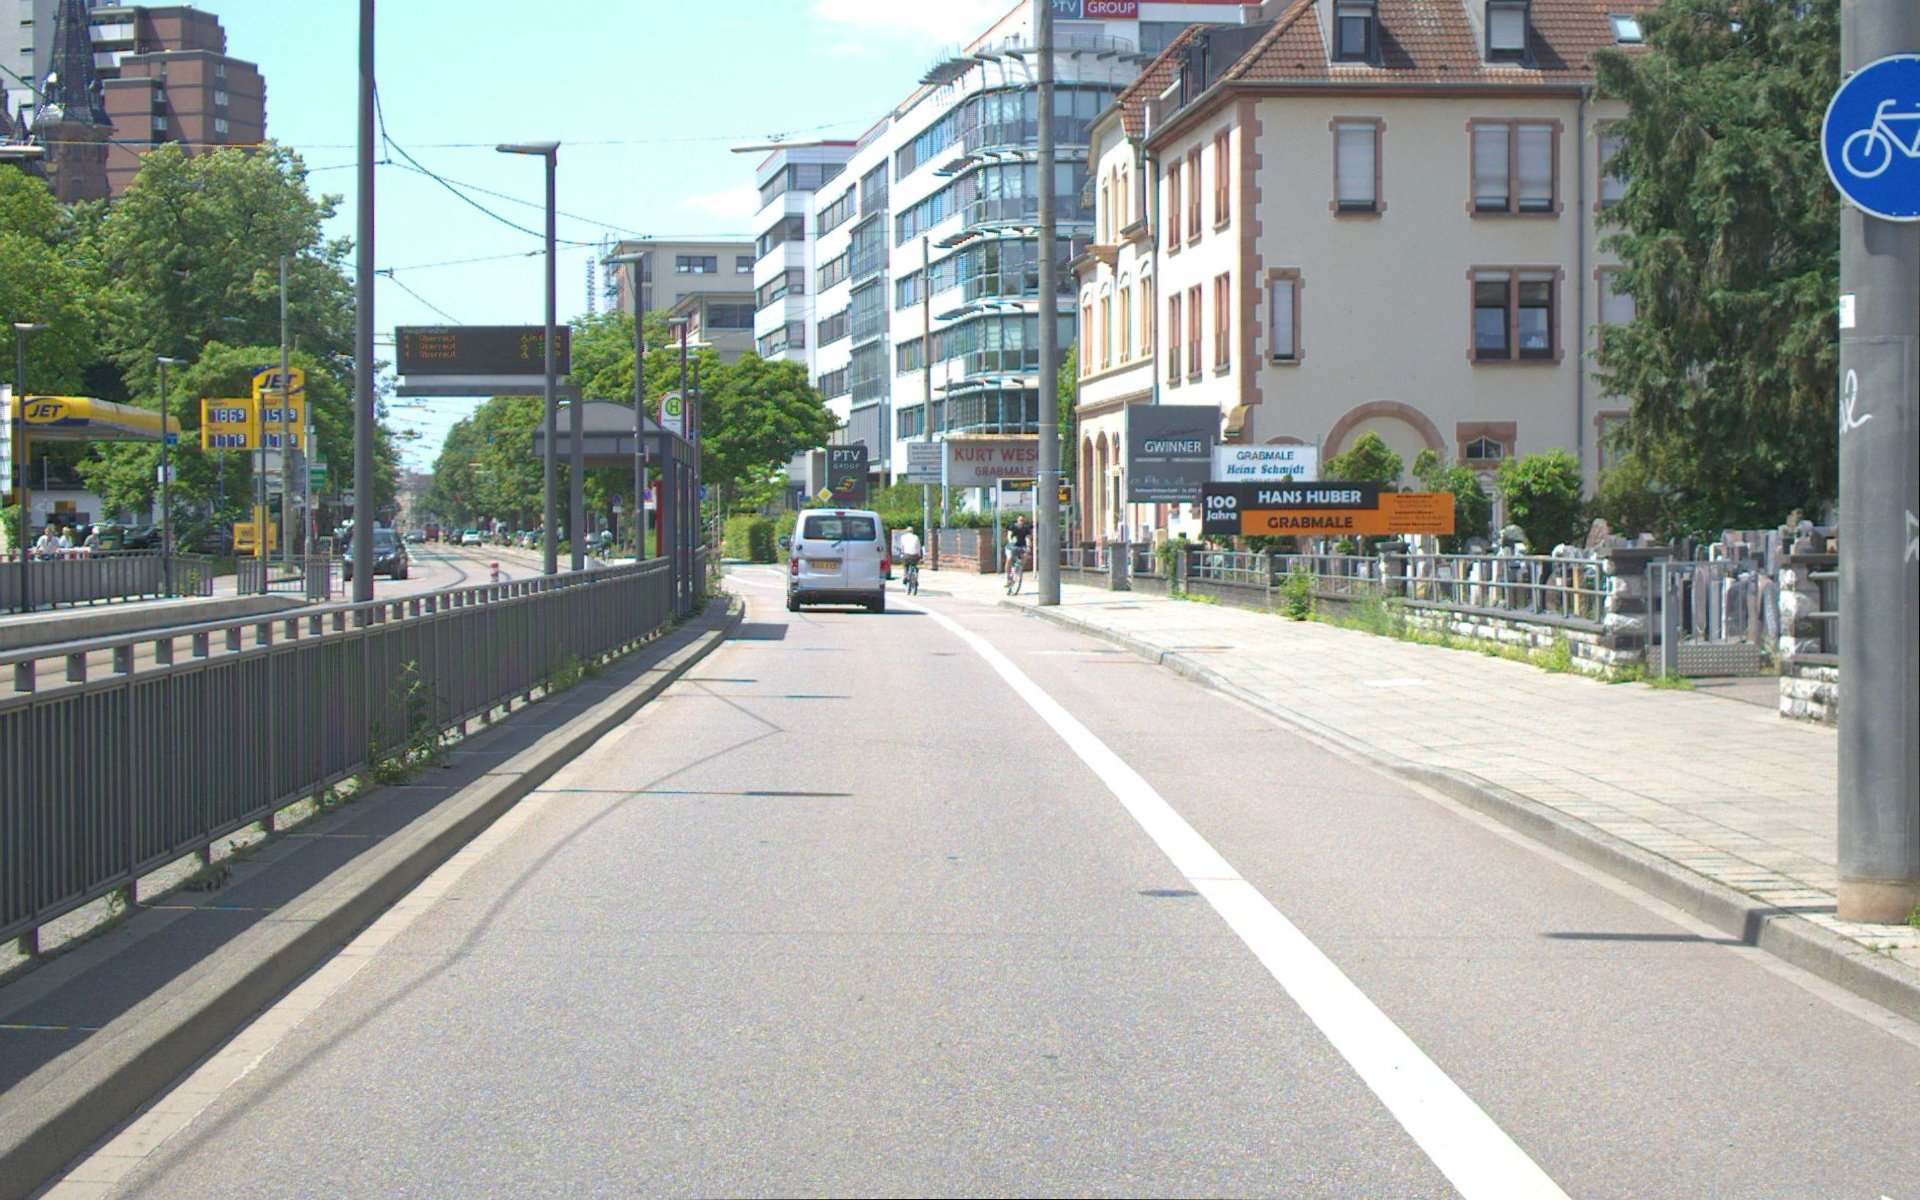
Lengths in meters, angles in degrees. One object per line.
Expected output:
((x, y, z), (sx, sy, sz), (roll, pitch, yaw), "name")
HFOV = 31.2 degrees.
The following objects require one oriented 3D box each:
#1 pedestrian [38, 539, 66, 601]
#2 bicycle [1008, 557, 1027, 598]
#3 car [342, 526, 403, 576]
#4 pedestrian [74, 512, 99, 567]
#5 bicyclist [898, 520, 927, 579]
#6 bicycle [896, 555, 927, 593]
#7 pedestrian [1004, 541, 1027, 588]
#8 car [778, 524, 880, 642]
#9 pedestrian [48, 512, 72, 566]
((-20.527, -0.677, 77.726), (0.435, 1.379, 0.536), (-2, 0, -1), "pedestrian")
((1.323, -0.515, 79.231), (0.356, 0.937, 1.317), (-2, 0, -1), "bicycle")
((-19.155, -1.603, 112.119), (1.698, 1.610, 3.759), (1, 1, -6), "car")
((-26.868, -1.853, 105.733), (0.580, 1.665, 0.667), (1, 0, -1), "pedestrian")
((-1.130, -1.202, 81.710), (0.591, 1.392, 0.842), (0, 1, -8), "bicyclist")
((-1.150, -0.632, 81.785), (0.465, 0.884, 2.049), (0, 1, -8), "bicycle")
((1.287, -0.820, 79.247), (0.483, 1.050, 0.537), (-2, 0, -1), "pedestrian")
((-2.371, -0.345, 62.196), (1.752, 2.006, 4.001), (-1, 2, -2), "car")
((-27.469, -1.857, 104.915), (0.552, 1.652, 0.672), (0, 1, -2), "pedestrian")
